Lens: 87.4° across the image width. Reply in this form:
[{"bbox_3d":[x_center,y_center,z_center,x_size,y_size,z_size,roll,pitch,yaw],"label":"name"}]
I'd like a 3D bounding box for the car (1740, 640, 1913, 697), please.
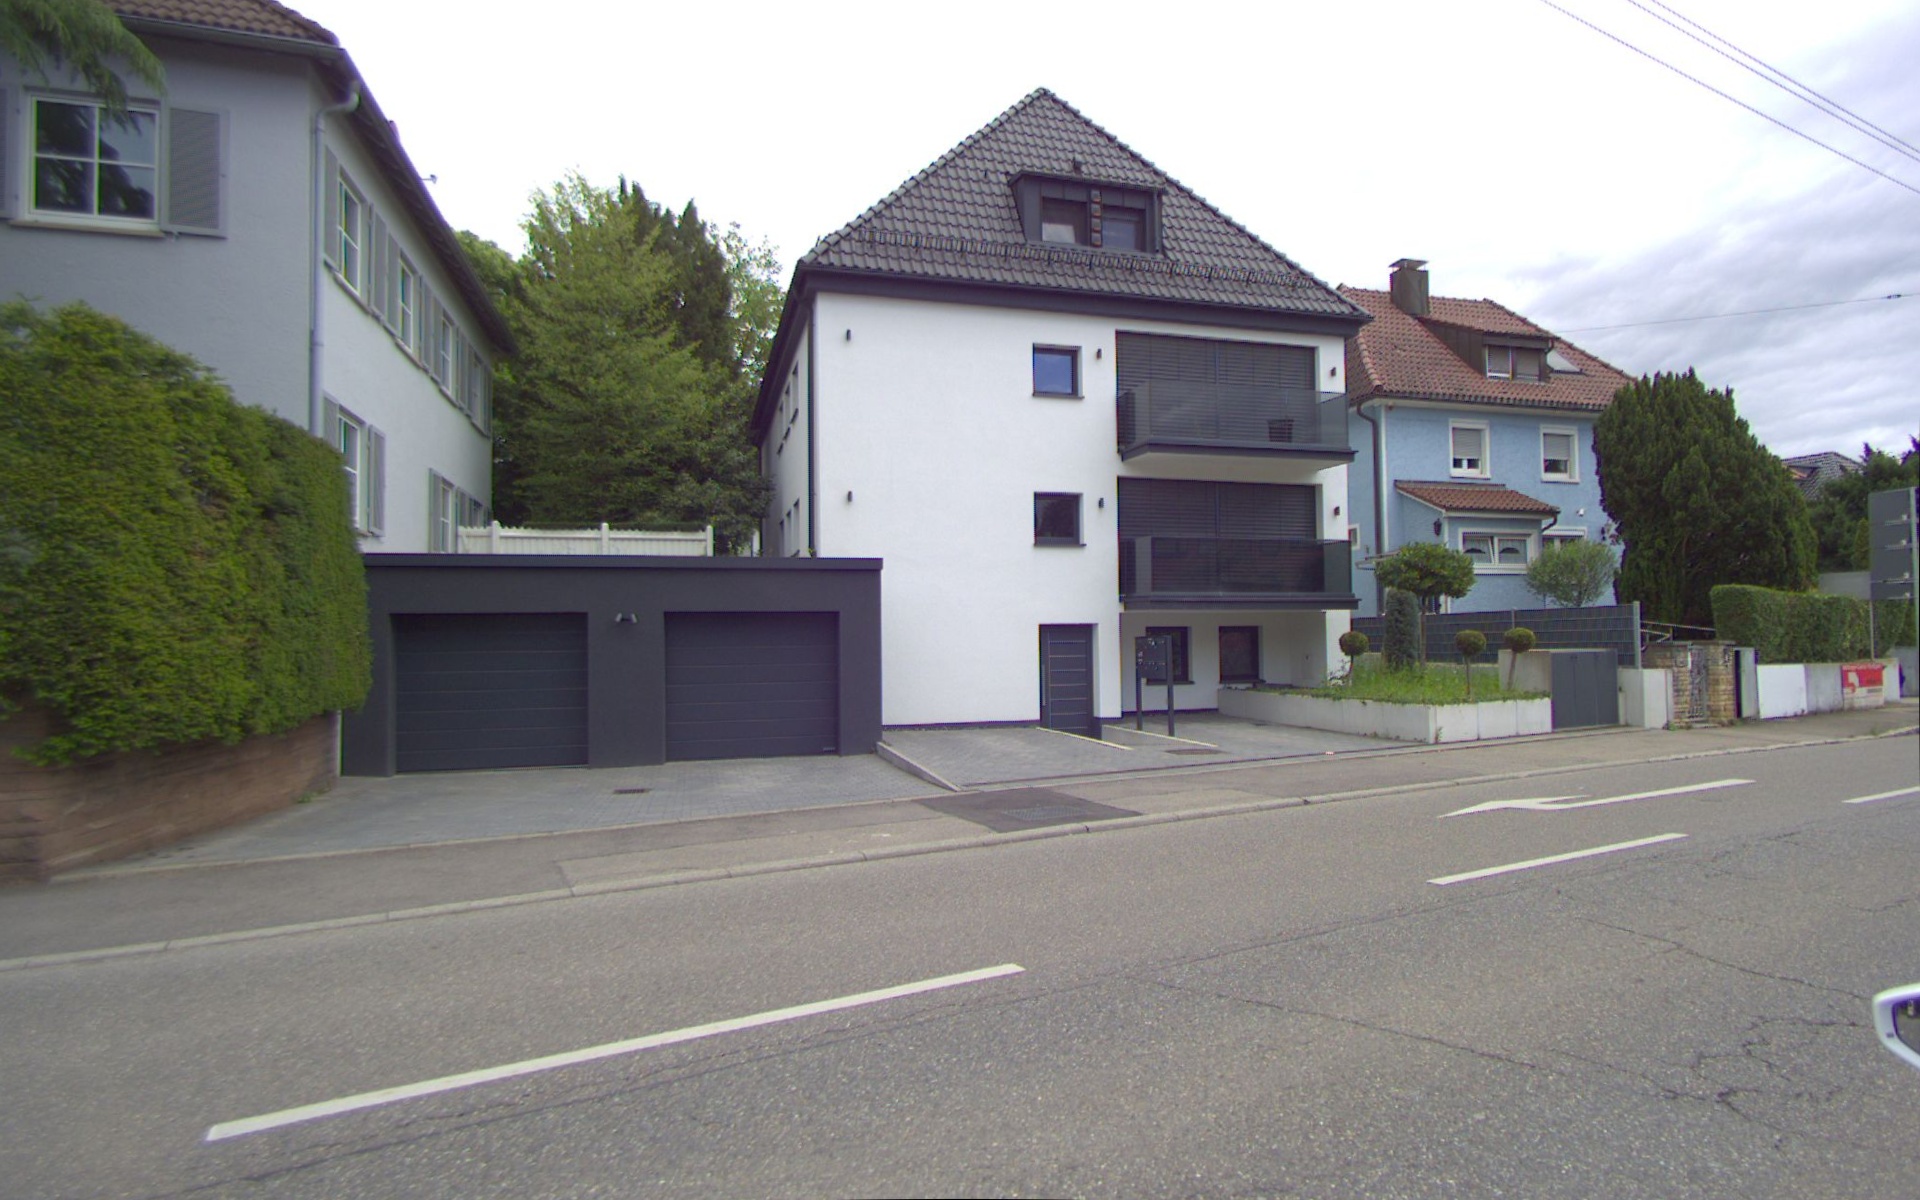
[{"bbox_3d":[25.915,2.073,30.193,1.615,1.612,3.591,0,-4,-15],"label":"car"}]
